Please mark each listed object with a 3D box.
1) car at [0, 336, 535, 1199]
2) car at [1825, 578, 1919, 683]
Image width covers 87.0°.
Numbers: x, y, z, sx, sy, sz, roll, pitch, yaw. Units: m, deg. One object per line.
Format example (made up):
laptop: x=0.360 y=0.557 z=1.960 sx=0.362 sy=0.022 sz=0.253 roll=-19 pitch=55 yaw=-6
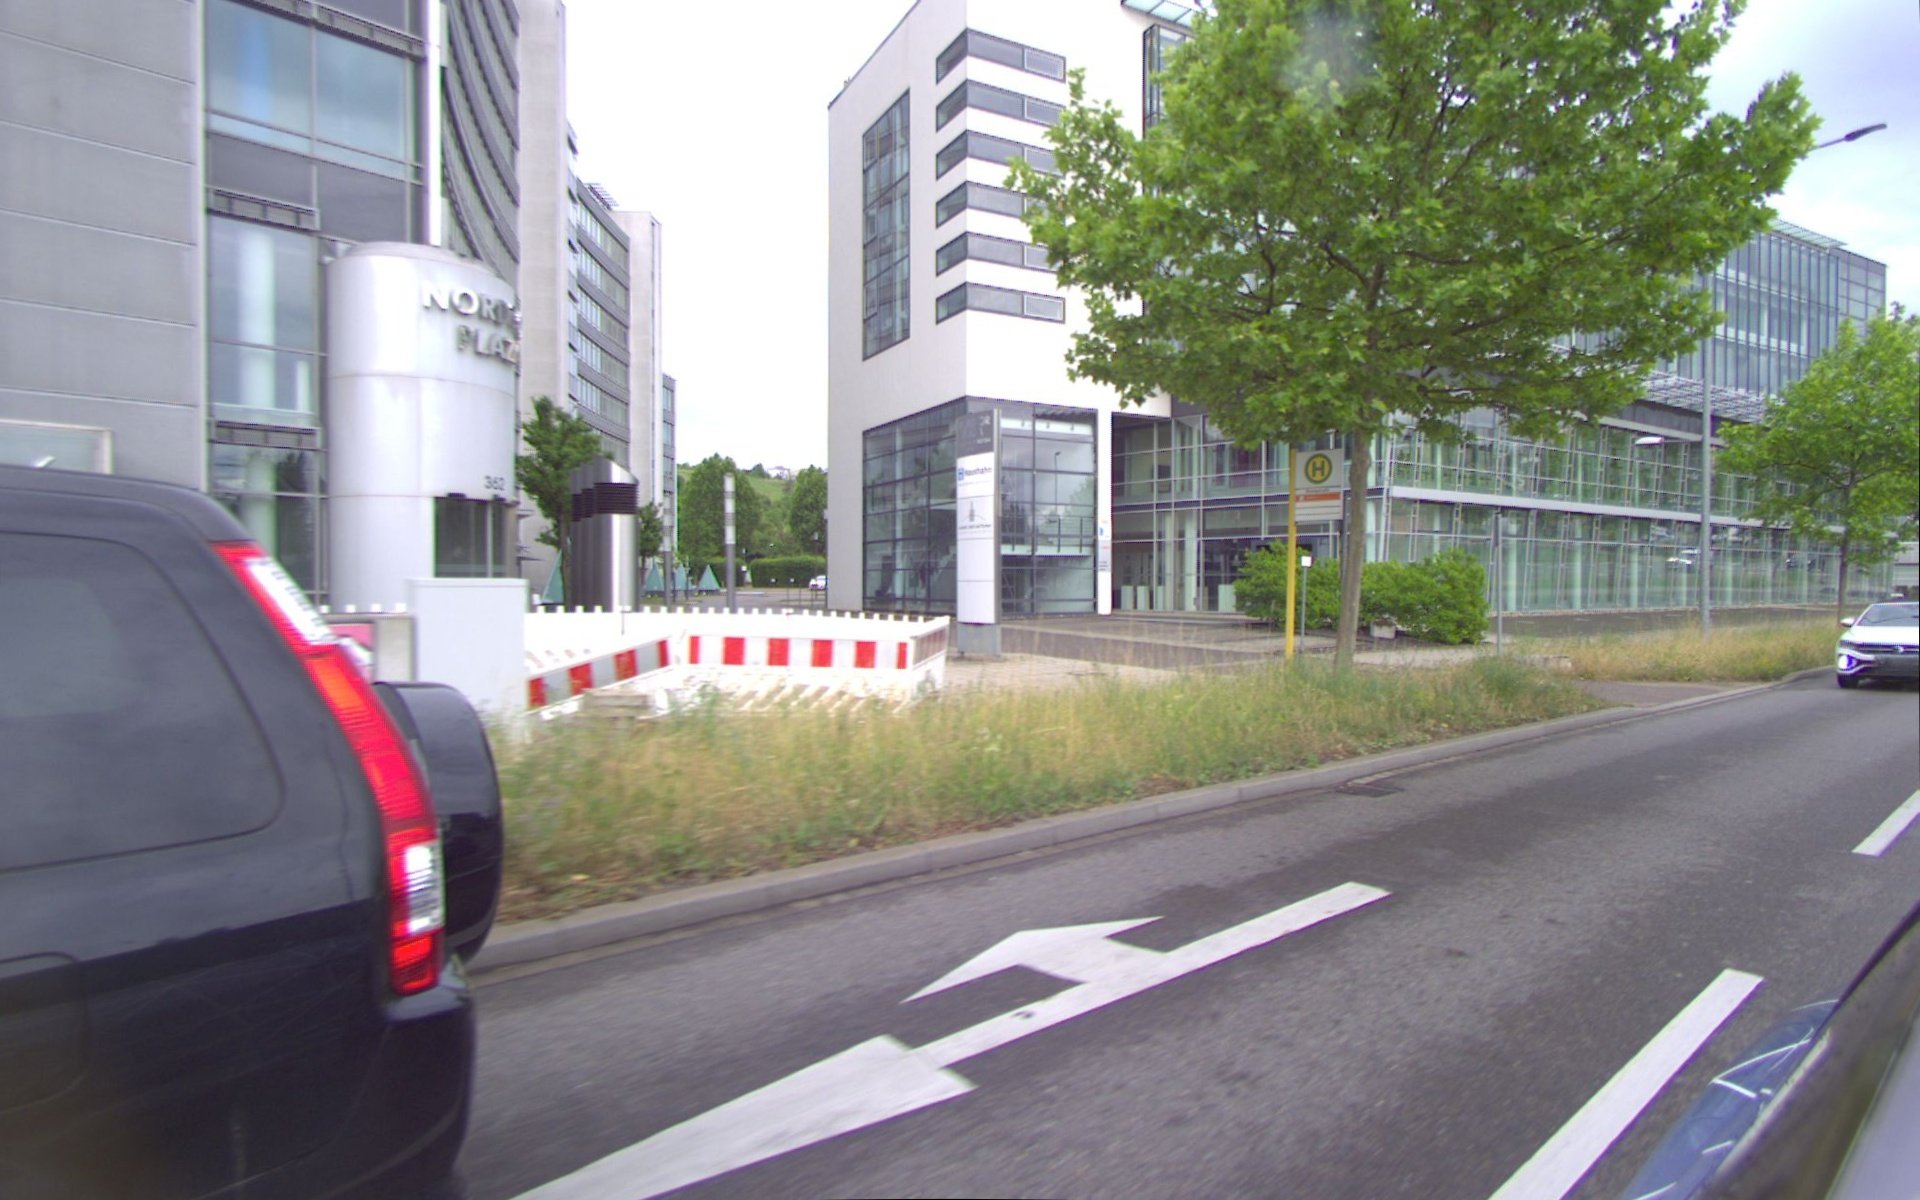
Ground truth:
car: x=-2.787 y=0.569 z=0.710 sx=4.254 sy=1.651 sz=1.766 roll=-1 pitch=-1 yaw=-44
car: x=16.920 y=0.482 z=17.705 sx=3.752 sy=1.700 sz=1.998 roll=-1 pitch=0 yaw=-38
